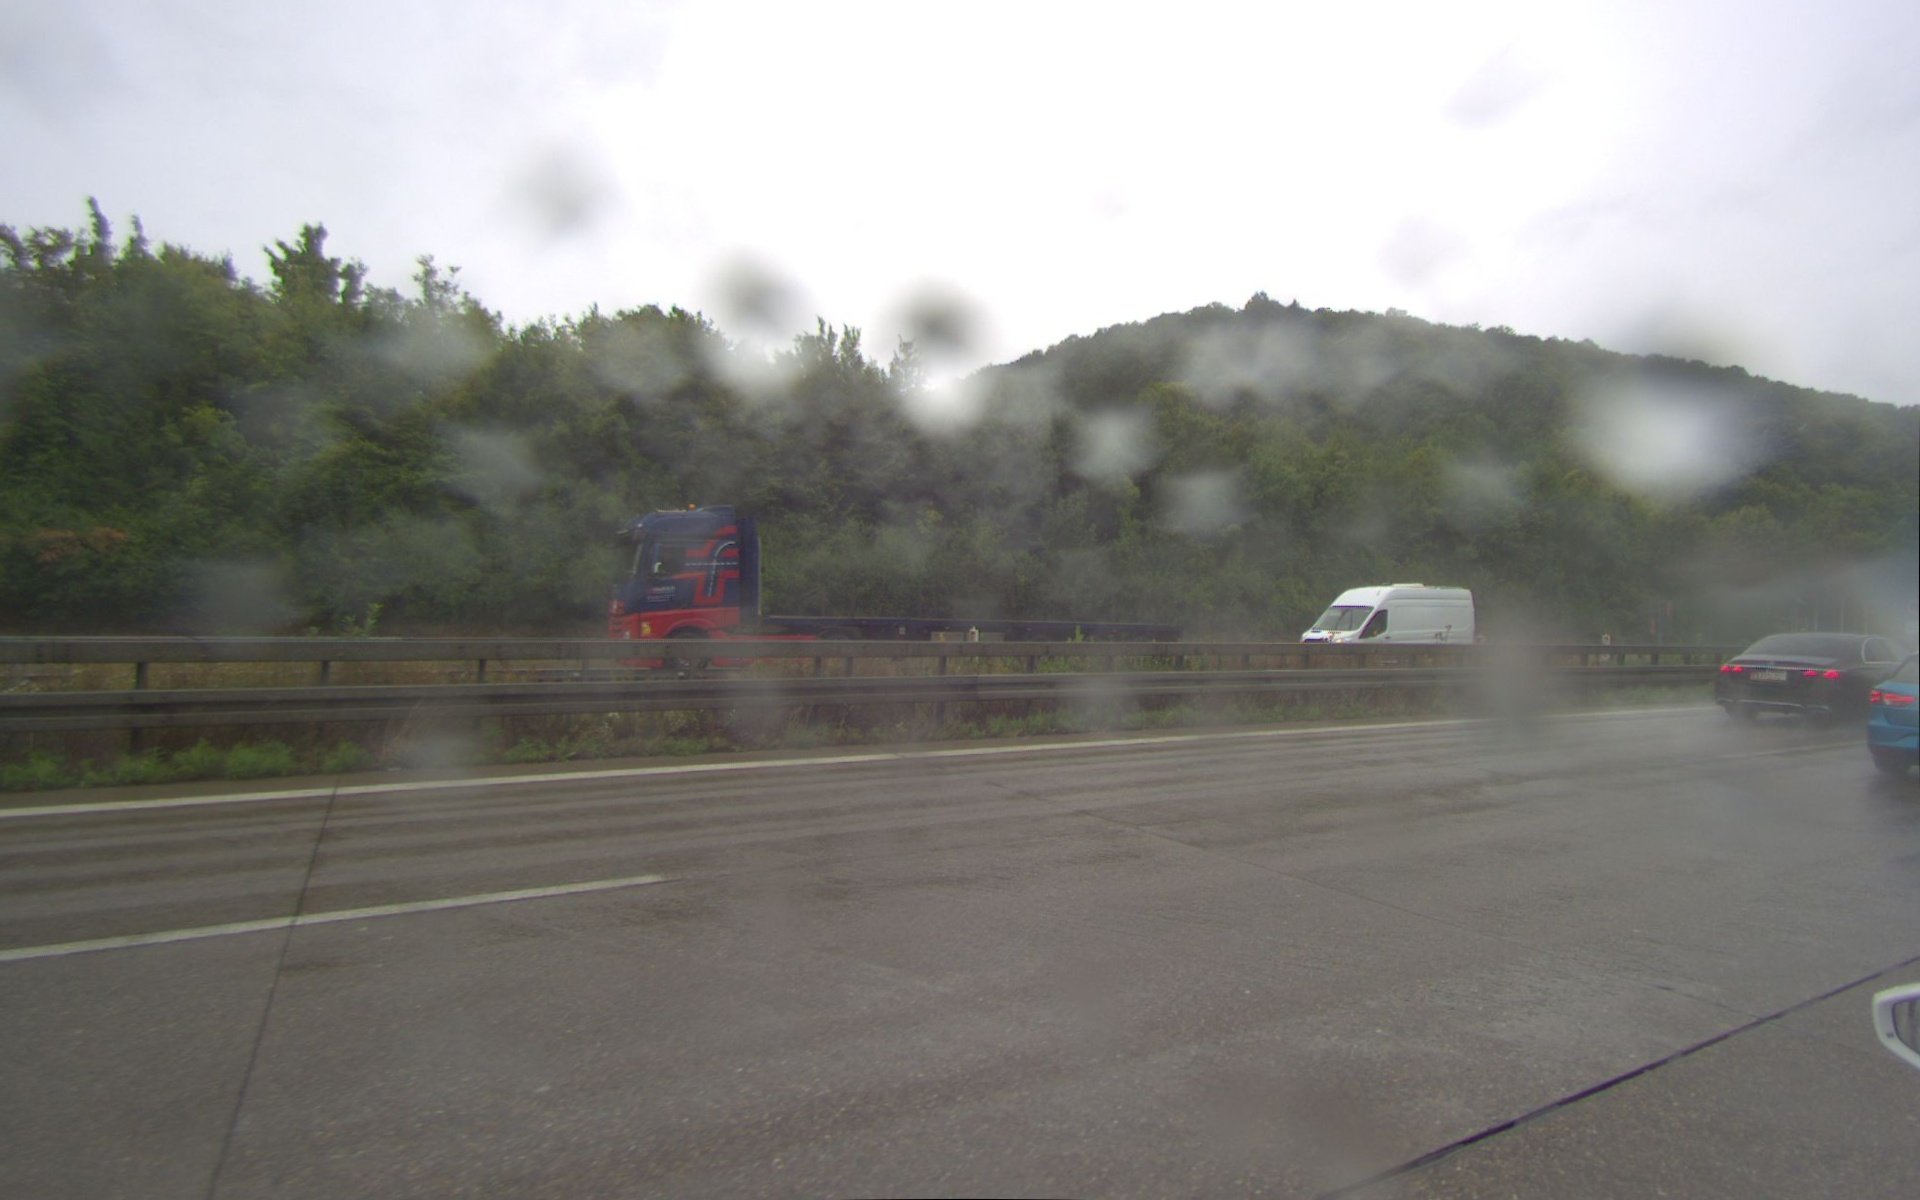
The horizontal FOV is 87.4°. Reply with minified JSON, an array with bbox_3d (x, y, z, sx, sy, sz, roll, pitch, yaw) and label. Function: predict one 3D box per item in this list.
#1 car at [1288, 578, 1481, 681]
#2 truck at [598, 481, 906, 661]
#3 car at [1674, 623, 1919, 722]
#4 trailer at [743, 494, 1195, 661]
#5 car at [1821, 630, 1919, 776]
[{"bbox_3d":[13.306,0.902,31.310,6.457,2.939,2.078,1,0,-30],"label":"car"},{"bbox_3d":[-5.082,-0.542,24.804,6.802,3.908,3.123,1,0,-29],"label":"truck"},{"bbox_3d":[13.636,1.097,16.197,4.300,1.357,1.847,1,0,-30],"label":"car"},{"bbox_3d":[0.633,-0.372,28.027,12.714,3.908,3.123,2,-1,-29],"label":"trailer"},{"bbox_3d":[11.017,1.037,10.427,4.300,1.357,1.847,1,0,-30],"label":"car"}]
